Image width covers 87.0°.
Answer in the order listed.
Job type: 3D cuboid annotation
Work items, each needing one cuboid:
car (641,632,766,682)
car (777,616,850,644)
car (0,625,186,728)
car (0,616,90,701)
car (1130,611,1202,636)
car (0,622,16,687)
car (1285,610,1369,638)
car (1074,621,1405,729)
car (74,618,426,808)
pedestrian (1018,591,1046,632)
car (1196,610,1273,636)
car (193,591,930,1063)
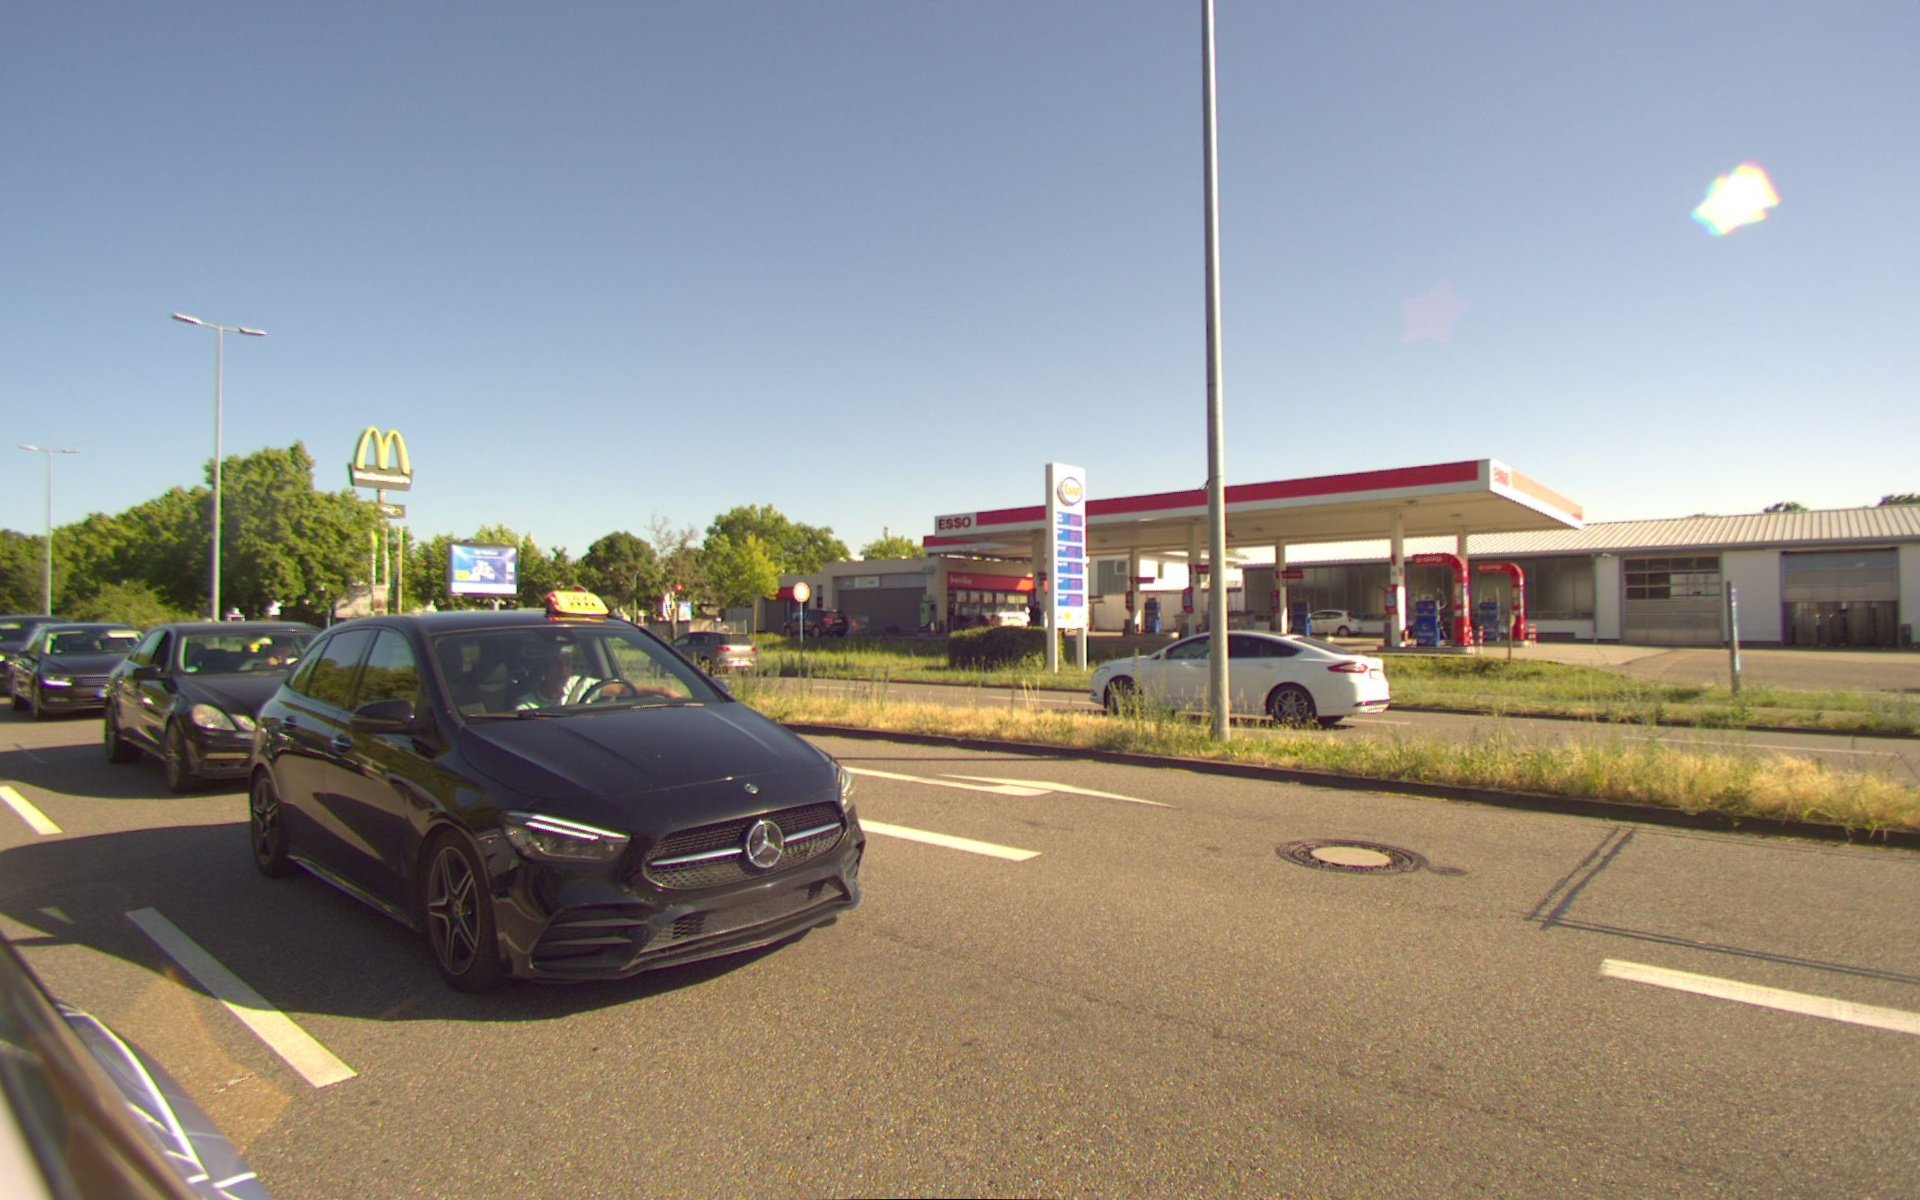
[{"bbox_3d":[-7.998,1.754,31.385,3.975,1.420,1.741,-1,-4,40],"label":"car"},{"bbox_3d":[-7.942,1.615,54.753,3.975,1.420,1.661,-1,-4,40],"label":"car"},{"bbox_3d":[-14.439,1.158,16.688,4.284,1.438,1.775,-1,0,40],"label":"car"},{"bbox_3d":[-19.883,1.191,21.401,3.876,1.629,1.653,-2,-1,40],"label":"car"},{"bbox_3d":[12.451,1.400,61.375,3.975,1.420,1.661,-1,-4,40],"label":"car"},{"bbox_3d":[-25.211,1.374,25.536,3.774,1.567,1.615,-1,-1,40],"label":"car"},{"bbox_3d":[19.851,1.305,54.833,3.975,1.420,1.661,-1,-4,40],"label":"car"},{"bbox_3d":[4.396,1.137,16.375,4.872,1.502,1.742,-1,-4,38],"label":"car"},{"bbox_3d":[-7.249,0.934,10.156,4.400,1.449,1.845,-1,0,40],"label":"car"},{"bbox_3d":[3.193,0.506,44.849,0.904,1.763,0.780,-1,0,43],"label":"pedestrian"},{"bbox_3d":[15.849,1.356,58.575,3.975,1.420,1.661,-1,-4,40],"label":"car"},{"bbox_3d":[-2.371,0.741,5.329,4.400,1.502,1.741,-1,0,40],"label":"car"}]
